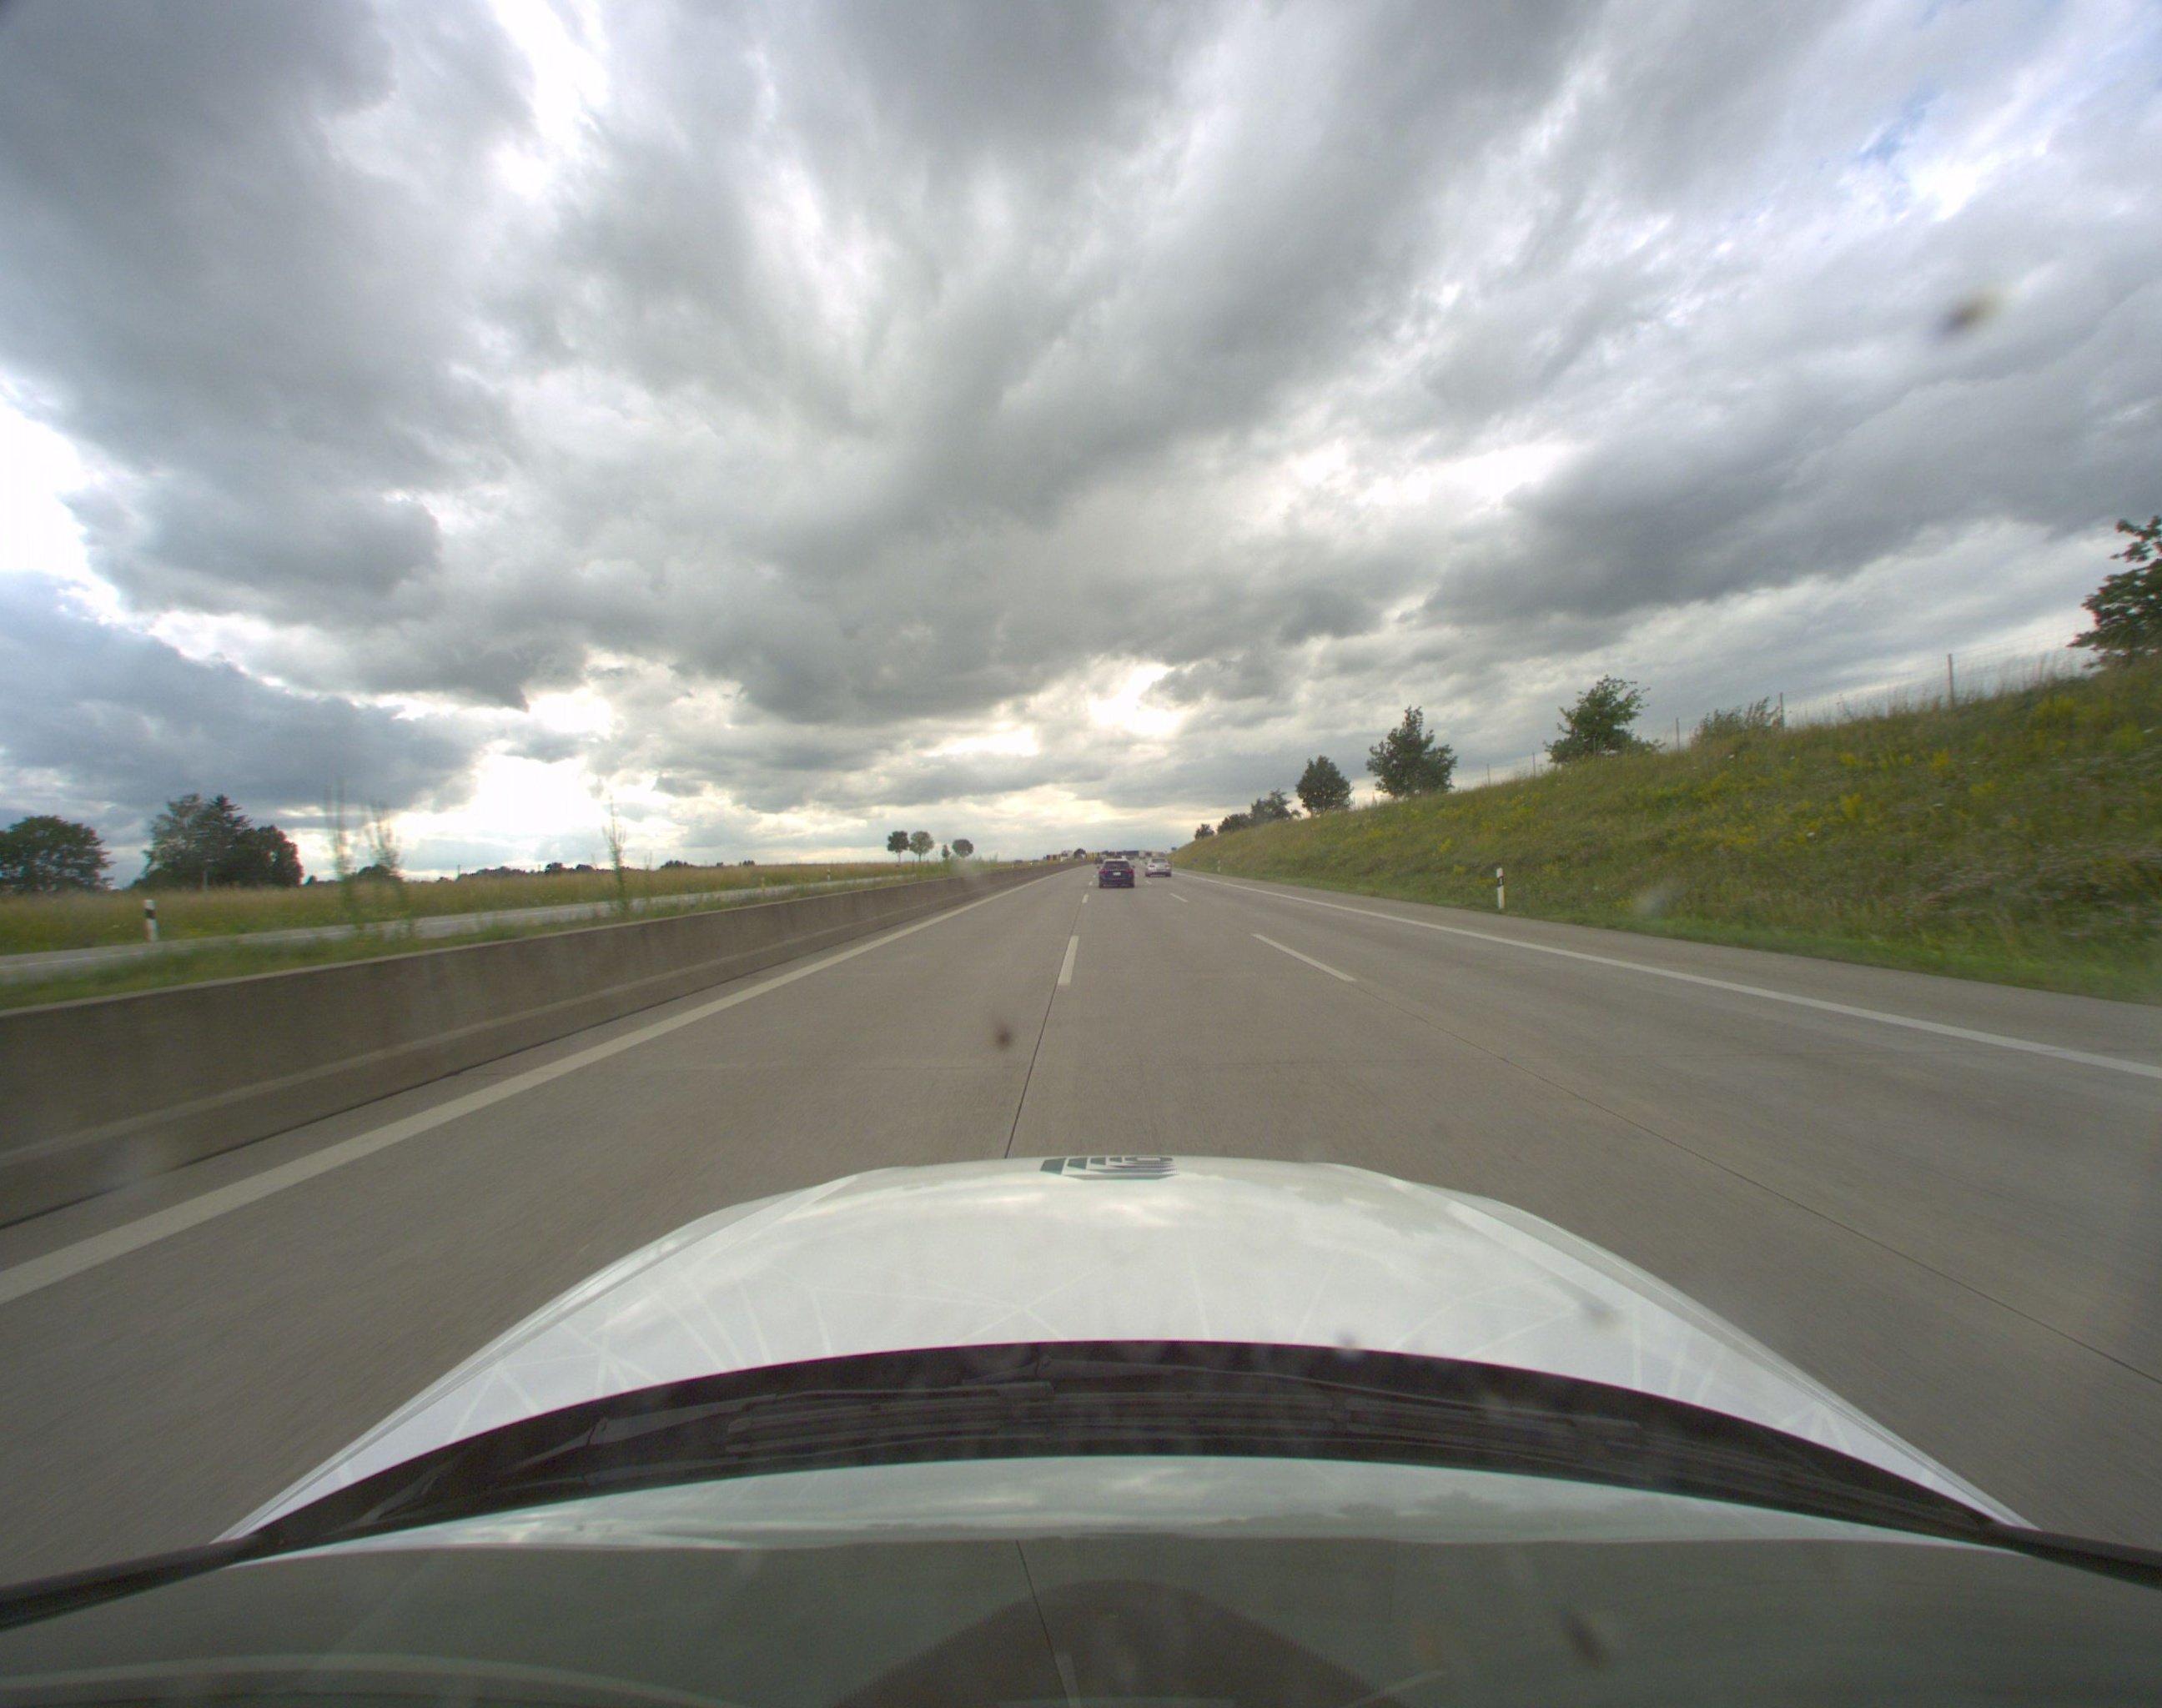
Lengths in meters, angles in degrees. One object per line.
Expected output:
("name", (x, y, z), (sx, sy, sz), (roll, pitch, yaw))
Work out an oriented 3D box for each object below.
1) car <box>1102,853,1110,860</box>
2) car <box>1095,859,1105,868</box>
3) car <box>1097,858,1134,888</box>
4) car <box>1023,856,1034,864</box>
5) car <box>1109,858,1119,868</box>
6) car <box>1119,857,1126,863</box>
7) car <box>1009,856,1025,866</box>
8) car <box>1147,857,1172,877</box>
("car", (6.865, 0.762, 226.021), (1.987, 2.014, 3.999), (-1, -1, 0))
("car", (4.045, 2.020, 171.616), (2.040, 2.014, 3.999), (-1, -1, 0))
("car", (1.797, 0.928, 41.584), (1.767, 1.413, 4.003), (-1, -1, 3))
("car", (-10.169, 1.191, 158.761), (1.655, 1.399, 4.002), (-1, 0, 2))
("car", (6.738, 1.910, 165.977), (1.987, 2.014, 4.000), (-1, -1, 1))
("car", (13.263, 1.865, 259.231), (1.984, 2.014, 4.005), (-1, -1, 5))
("car", (-10.459, 1.147, 133.118), (1.986, 1.684, 4.065), (-1, 0, 2))
("car", (5.960, 0.963, 62.086), (1.780, 1.403, 4.227), (-1, -1, 5))
